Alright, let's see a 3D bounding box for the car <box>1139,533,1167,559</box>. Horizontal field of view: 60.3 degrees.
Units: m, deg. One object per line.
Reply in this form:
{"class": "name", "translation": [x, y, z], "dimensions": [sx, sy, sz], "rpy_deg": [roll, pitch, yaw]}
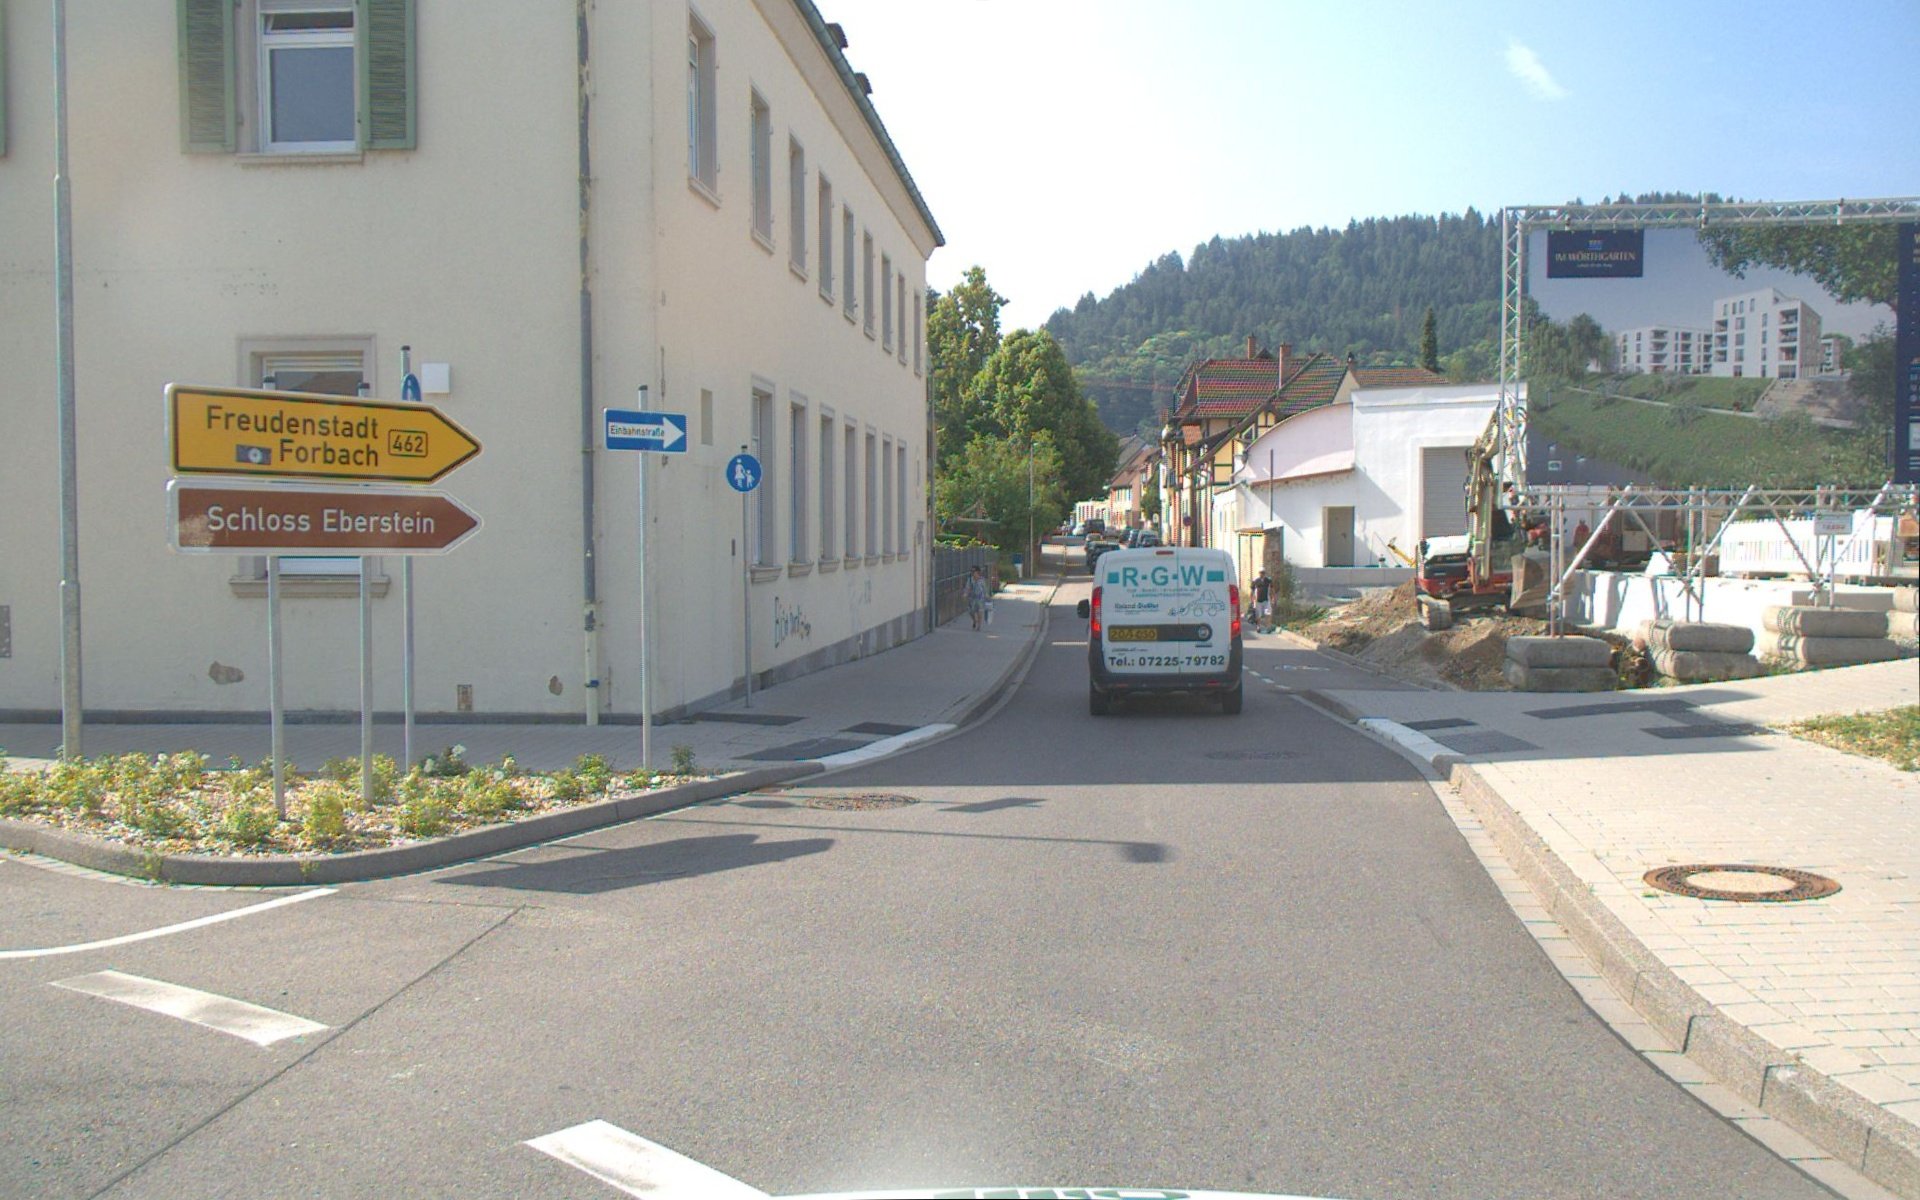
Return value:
{"class": "car", "translation": [13.217, -3.730, 113.349], "dimensions": [1.772, 1.624, 3.930], "rpy_deg": [2, 3, 5]}

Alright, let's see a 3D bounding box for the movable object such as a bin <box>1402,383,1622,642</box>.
{"class": "movable object such as a bin", "translation": [9.571, -1.492, 29.472], "dimensions": [2.246, 3.920, 7.807], "rpy_deg": [2, 2, 8]}

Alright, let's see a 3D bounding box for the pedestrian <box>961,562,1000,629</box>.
{"class": "pedestrian", "translation": [0.526, -0.120, 41.972], "dimensions": [0.937, 1.659, 0.758], "rpy_deg": [1, 2, 4]}

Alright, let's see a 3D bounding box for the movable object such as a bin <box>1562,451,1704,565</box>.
{"class": "movable object such as a bin", "translation": [23.108, -3.124, 56.664], "dimensions": [2.806, 3.683, 5.708], "rpy_deg": [5, 4, 39]}

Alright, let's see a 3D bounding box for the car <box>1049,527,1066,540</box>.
{"class": "car", "translation": [13.825, -9.381, 233.773], "dimensions": [1.738, 1.830, 3.995], "rpy_deg": [0, 3, -7]}

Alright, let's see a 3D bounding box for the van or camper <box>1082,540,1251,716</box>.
{"class": "van or camper", "translation": [2.395, 0.292, 20.067], "dimensions": [1.789, 1.876, 4.191], "rpy_deg": [-1, 0, 4]}

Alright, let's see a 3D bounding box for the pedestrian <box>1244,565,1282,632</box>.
{"class": "pedestrian", "translation": [7.912, -0.055, 43.209], "dimensions": [0.870, 1.712, 0.719], "rpy_deg": [2, 1, 5]}

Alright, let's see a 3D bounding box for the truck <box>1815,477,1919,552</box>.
{"class": "truck", "translation": [30.957, -2.804, 54.063], "dimensions": [5.217, 2.305, 2.214], "rpy_deg": [-1, 1, 31]}

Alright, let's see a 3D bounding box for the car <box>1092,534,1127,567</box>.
{"class": "car", "translation": [8.072, -2.685, 89.384], "dimensions": [1.772, 1.624, 3.930], "rpy_deg": [2, 3, 5]}

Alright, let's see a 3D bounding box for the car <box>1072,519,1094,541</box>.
{"class": "car", "translation": [16.369, -9.334, 220.486], "dimensions": [2.815, 2.884, 6.128], "rpy_deg": [-1, 3, 3]}

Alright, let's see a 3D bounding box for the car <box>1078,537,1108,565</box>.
{"class": "car", "translation": [8.439, -3.123, 105.145], "dimensions": [1.773, 1.624, 3.930], "rpy_deg": [2, 3, 3]}

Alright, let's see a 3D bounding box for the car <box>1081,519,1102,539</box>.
{"class": "car", "translation": [11.481, -6.198, 144.562], "dimensions": [1.772, 1.624, 3.930], "rpy_deg": [2, 3, 4]}

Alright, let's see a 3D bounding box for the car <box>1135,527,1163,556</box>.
{"class": "car", "translation": [14.083, -4.394, 123.457], "dimensions": [1.832, 2.048, 4.003], "rpy_deg": [1, 3, 4]}

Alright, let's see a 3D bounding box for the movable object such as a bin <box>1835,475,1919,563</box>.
{"class": "movable object such as a bin", "translation": [29.547, -2.496, 50.928], "dimensions": [4.527, 2.614, 1.922], "rpy_deg": [-1, 1, 31]}

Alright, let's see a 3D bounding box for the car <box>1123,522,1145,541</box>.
{"class": "car", "translation": [14.701, -5.803, 139.723], "dimensions": [1.634, 1.534, 4.003], "rpy_deg": [-1, 3, 3]}
